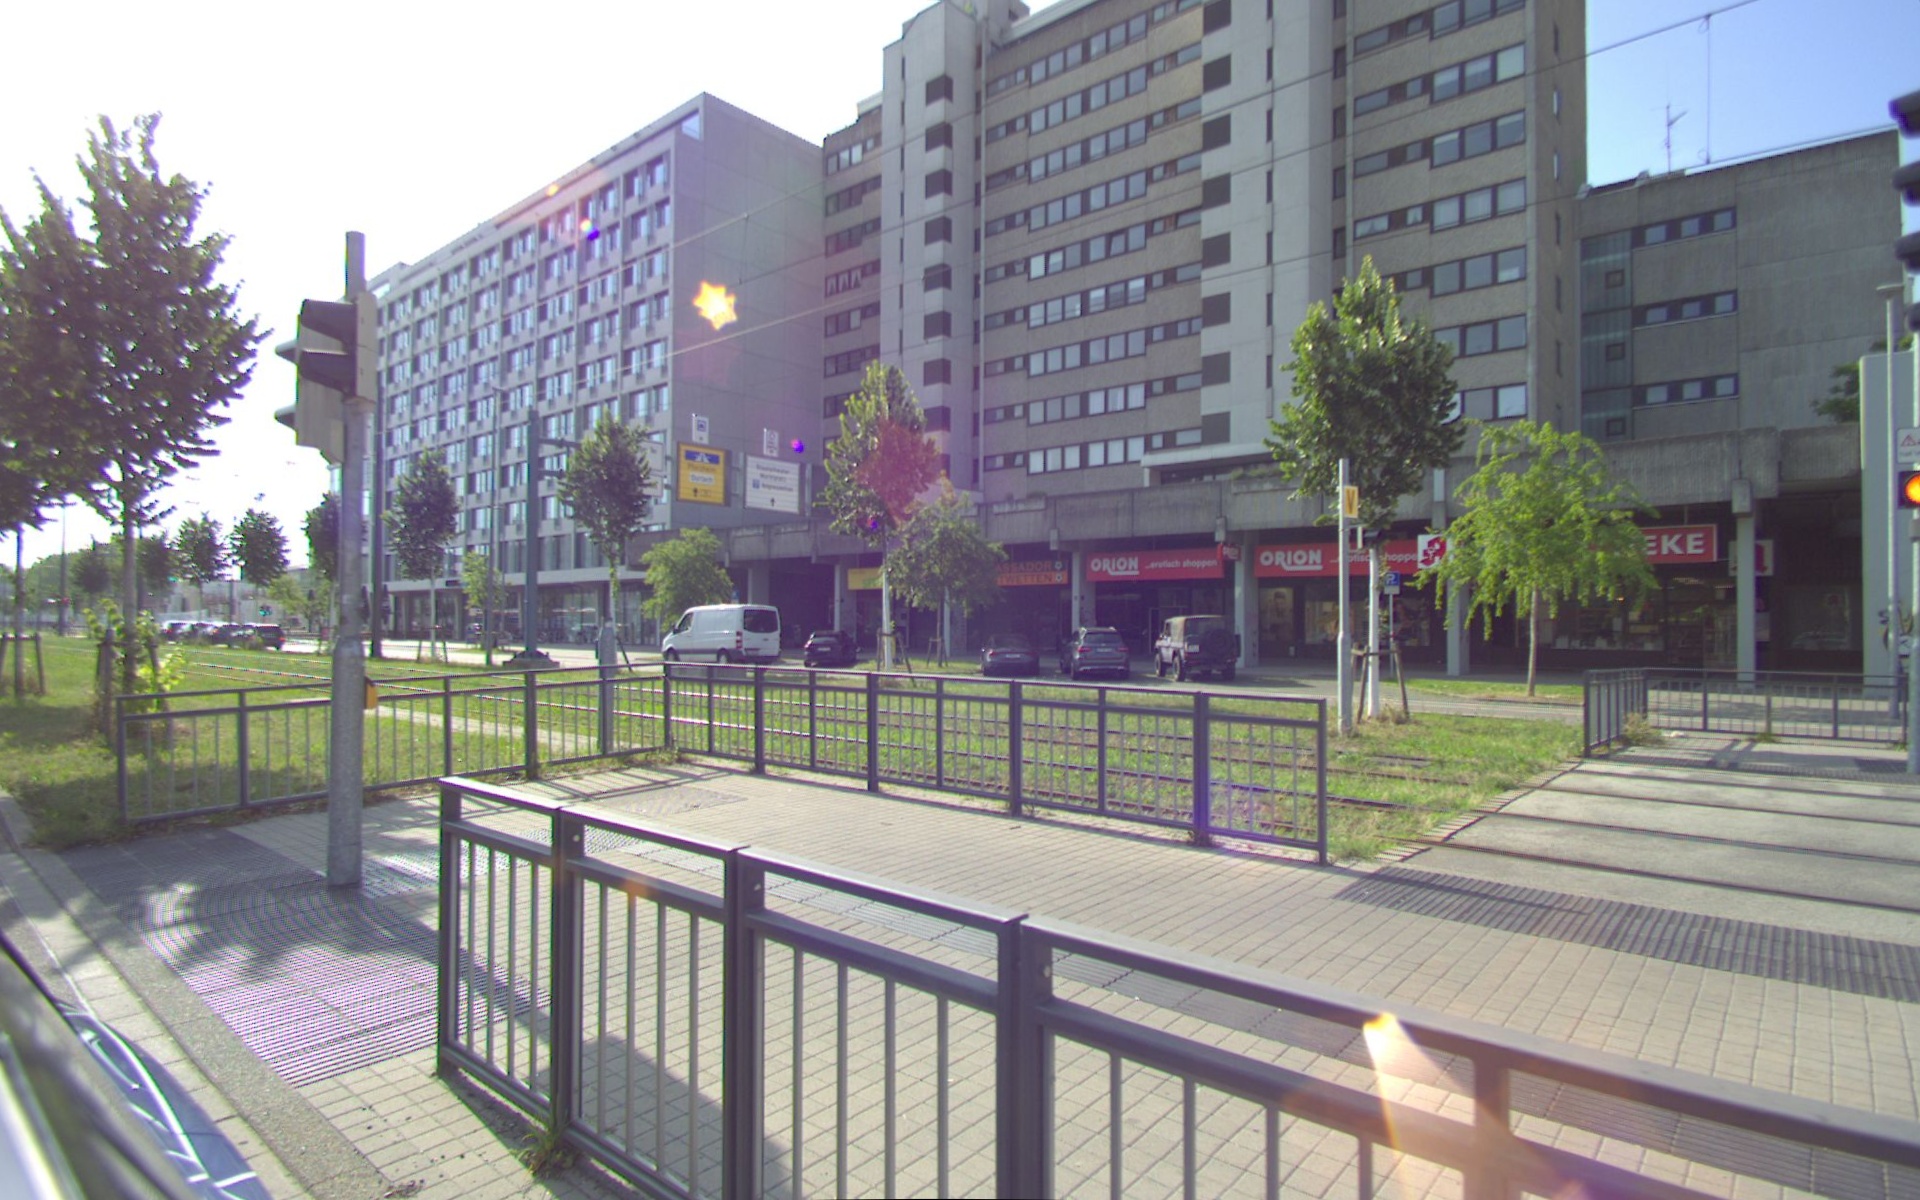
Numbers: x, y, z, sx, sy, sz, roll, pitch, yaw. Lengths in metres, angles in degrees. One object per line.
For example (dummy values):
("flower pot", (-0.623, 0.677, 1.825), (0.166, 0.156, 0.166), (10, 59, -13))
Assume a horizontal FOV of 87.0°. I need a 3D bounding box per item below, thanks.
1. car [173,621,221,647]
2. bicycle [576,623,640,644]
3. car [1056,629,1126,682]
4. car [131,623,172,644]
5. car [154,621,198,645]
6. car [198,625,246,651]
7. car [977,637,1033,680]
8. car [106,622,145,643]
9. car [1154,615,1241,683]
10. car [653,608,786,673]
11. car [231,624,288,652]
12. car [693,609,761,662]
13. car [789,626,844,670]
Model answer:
("car", (-49.093, 2.159, 65.096), (4.001, 1.586, 1.787), (-1, -2, 44))
("bicycle", (-24.018, 2.283, 69.137), (3.937, 1.377, 1.128), (2, -2, -40))
("car", (4.268, 1.792, 33.593), (1.854, 1.618, 4.109), (0, -2, 1))
("car", (-58.586, 2.401, 73.332), (4.001, 1.486, 1.787), (-1, -2, 44))
("car", (-53.227, 2.214, 68.686), (4.001, 1.586, 1.787), (-1, -2, 44))
("car", (-44.361, 2.282, 60.805), (3.642, 1.498, 1.722), (-1, -2, 44))
("car", (1.562, 2.035, 35.928), (1.854, 1.253, 4.109), (-1, 0, 1))
("car", (-65.278, 2.534, 79.165), (3.999, 1.536, 1.764), (-1, -2, 42))
("car", (7.393, 1.509, 31.938), (1.854, 1.983, 4.109), (0, -2, 1))
("car", (-8.917, 1.460, 37.304), (5.331, 2.256, 2.025), (-1, -2, 40))
("car", (-38.511, 2.066, 55.582), (4.001, 1.492, 1.787), (-1, -2, 44))
("car", (-10.735, 1.646, 47.109), (1.859, 2.326, 5.407), (0, -2, 1))
("car", (-5.922, 1.961, 42.202), (2.070, 1.594, 4.005), (-2, 0, -6))
